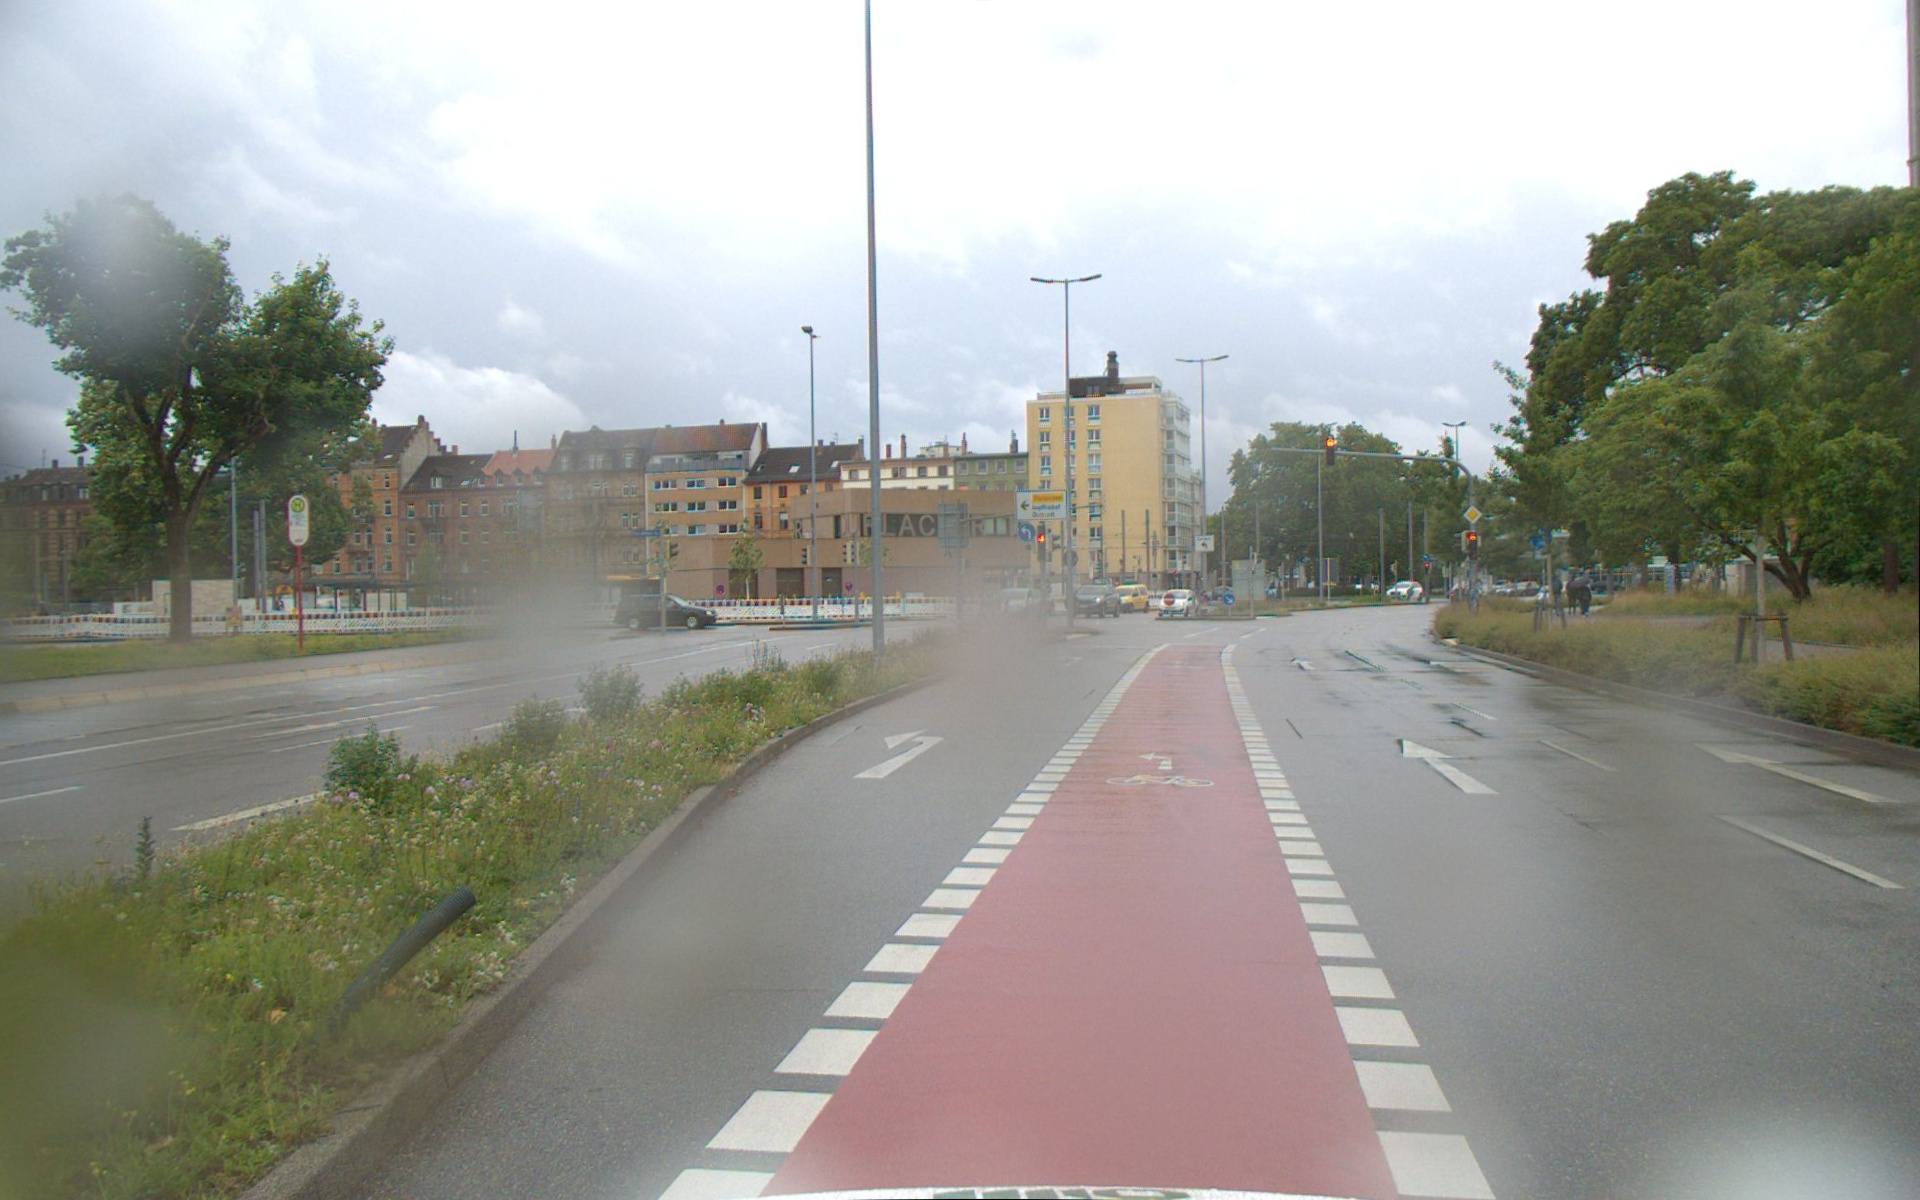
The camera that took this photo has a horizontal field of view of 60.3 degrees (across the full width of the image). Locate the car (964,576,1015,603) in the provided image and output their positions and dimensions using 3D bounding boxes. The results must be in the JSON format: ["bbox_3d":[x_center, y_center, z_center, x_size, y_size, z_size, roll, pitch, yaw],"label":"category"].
[{"bbox_3d":[3.332,-1.192,184.132,5.236,2.937,2.341,-1,0,13],"label":"car"}]

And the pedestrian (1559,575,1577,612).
[{"bbox_3d":[27.253,-0.286,74.108,0.738,1.615,0.936,-1,0,20],"label":"pedestrian"}]

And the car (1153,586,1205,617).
[{"bbox_3d":[12.033,0.070,90.847,1.646,1.527,3.865,-2,0,26],"label":"car"}]

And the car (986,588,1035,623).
[{"bbox_3d":[2.263,0.232,73.118,1.643,1.429,4.161,-2,0,9],"label":"car"}]

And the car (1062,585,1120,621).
[{"bbox_3d":[6.788,0.146,85.205,1.952,1.664,4.605,-3,0,18],"label":"car"}]

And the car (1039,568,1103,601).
[{"bbox_3d":[12.231,-1.658,181.812,6.597,3.439,2.812,-1,0,13],"label":"car"}]

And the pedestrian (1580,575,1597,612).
[{"bbox_3d":[28.075,-0.304,73.876,0.688,1.615,0.936,-1,0,20],"label":"pedestrian"}]

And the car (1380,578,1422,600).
[{"bbox_3d":[38.297,-0.967,143.585,1.795,1.711,5.146,-3,0,36],"label":"car"}]

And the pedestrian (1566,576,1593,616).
[{"bbox_3d":[25.479,-0.185,68.040,1.001,1.615,0.936,-1,0,20],"label":"pedestrian"}]

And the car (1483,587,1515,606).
[{"bbox_3d":[55.571,-0.357,170.430,1.668,1.720,4.161,-1,2,41],"label":"car"}]

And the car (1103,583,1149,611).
[{"bbox_3d":[10.648,-0.213,105.886,1.671,1.735,4.151,-1,0,24],"label":"car"}]

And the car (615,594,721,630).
[{"bbox_3d":[-12.289,0.508,69.662,4.103,1.427,1.619,-1,0,4],"label":"car"}]

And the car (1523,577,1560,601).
[{"bbox_3d":[43.010,-0.810,122.286,1.757,1.672,4.149,-1,0,32],"label":"car"}]

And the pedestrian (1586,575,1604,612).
[{"bbox_3d":[27.894,-0.291,72.627,0.688,1.615,0.936,-1,0,20],"label":"pedestrian"}]

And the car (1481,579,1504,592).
[{"bbox_3d":[69.852,-1.909,216.848,1.758,1.672,4.147,-1,0,34],"label":"car"}]

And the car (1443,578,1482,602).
[{"bbox_3d":[36.930,-0.730,121.550,1.757,1.672,4.149,-1,0,32],"label":"car"}]
